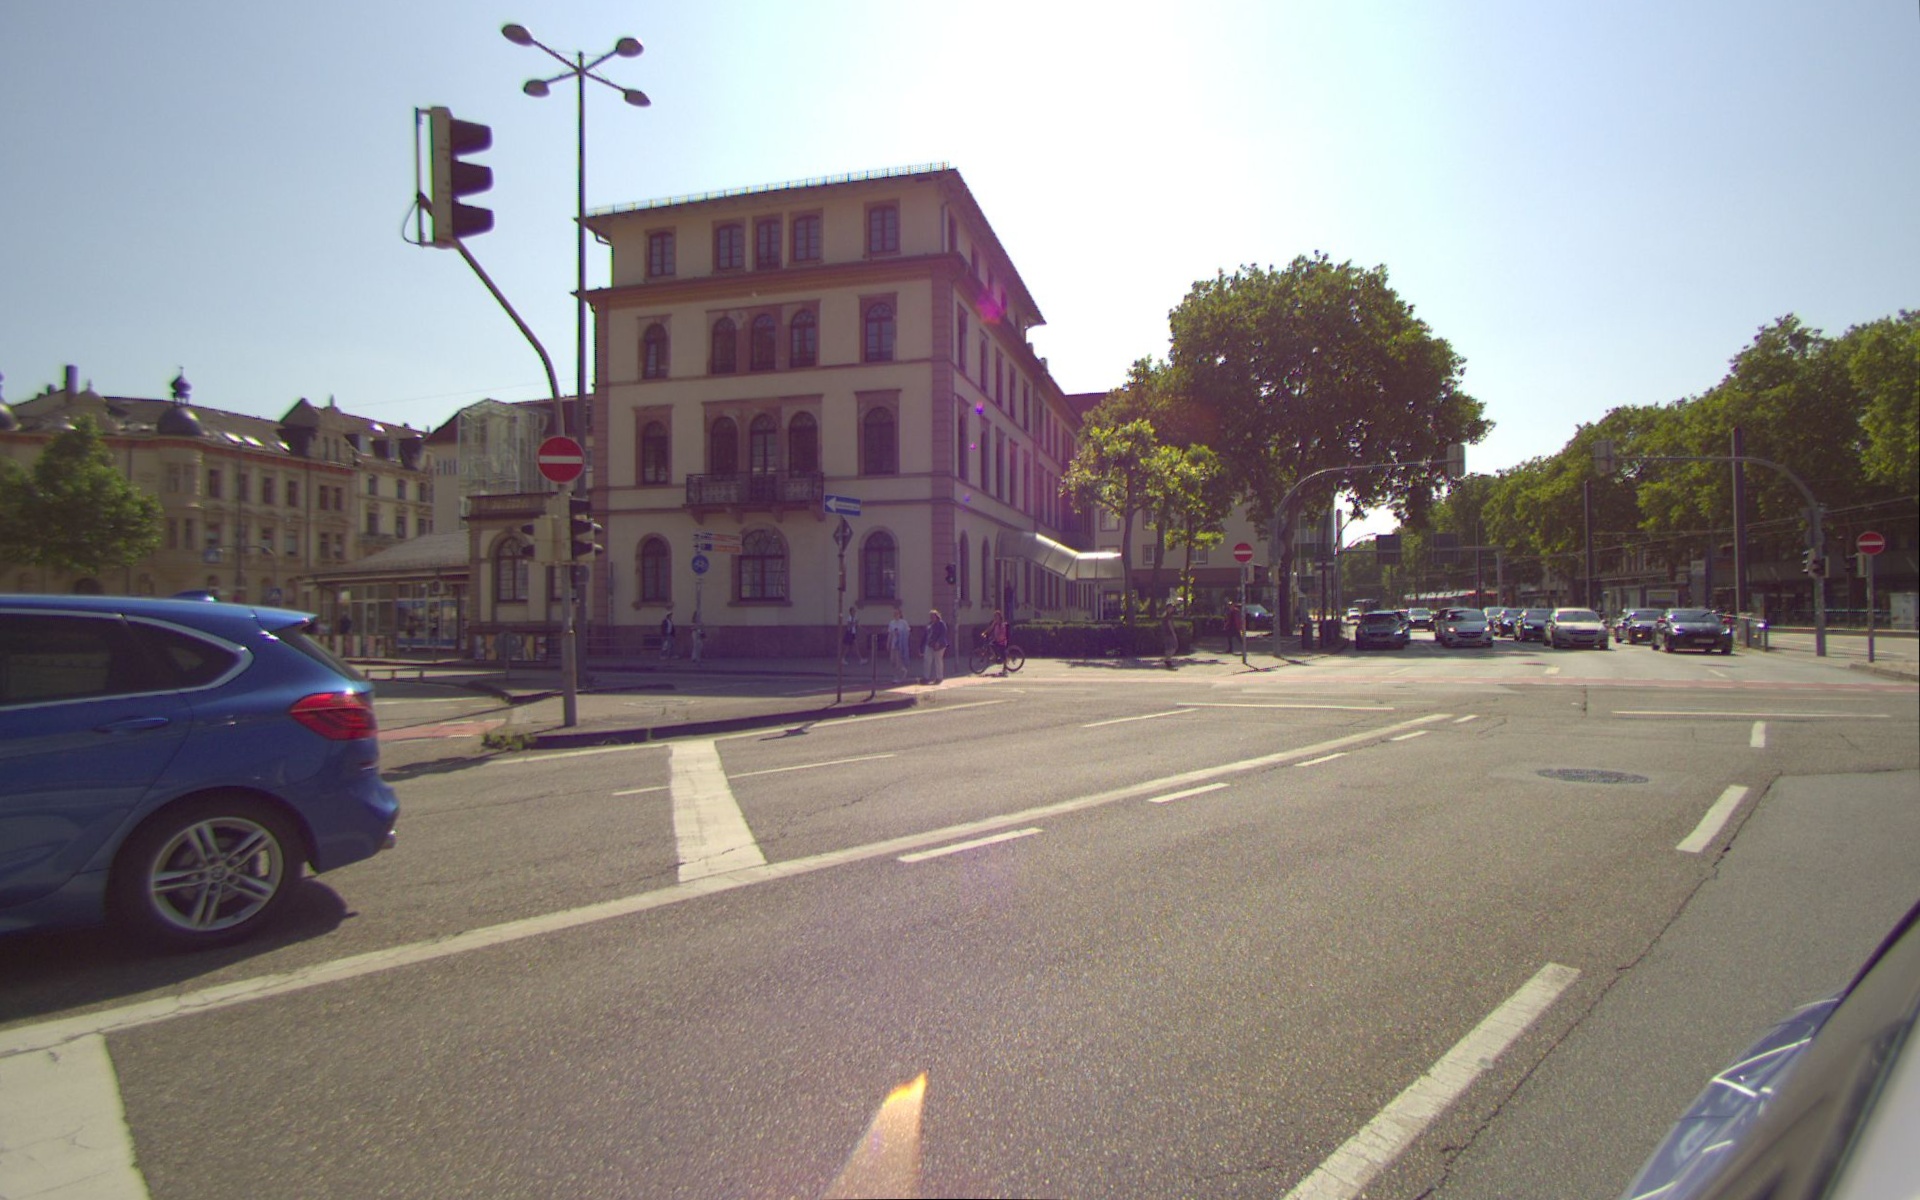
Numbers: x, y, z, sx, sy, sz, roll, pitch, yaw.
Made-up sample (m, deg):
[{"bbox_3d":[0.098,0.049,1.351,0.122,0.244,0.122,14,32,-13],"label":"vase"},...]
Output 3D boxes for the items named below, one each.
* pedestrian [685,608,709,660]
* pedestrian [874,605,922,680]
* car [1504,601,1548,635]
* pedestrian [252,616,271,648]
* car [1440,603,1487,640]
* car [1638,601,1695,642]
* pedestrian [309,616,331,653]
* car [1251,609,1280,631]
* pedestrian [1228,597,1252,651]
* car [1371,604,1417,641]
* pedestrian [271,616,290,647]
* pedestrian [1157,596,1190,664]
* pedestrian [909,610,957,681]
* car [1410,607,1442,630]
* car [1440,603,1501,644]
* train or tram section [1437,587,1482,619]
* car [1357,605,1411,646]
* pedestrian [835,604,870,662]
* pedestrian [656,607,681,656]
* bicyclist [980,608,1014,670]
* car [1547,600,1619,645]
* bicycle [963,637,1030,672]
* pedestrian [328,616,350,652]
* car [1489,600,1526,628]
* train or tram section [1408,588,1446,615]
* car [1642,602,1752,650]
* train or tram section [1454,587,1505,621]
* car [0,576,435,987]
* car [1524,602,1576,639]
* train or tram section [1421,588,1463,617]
[{"bbox_3d":[-8.576,1.093,32.976,0.528,1.670,0.576,-1,-1,20],"label":"pedestrian"},{"bbox_3d":[-1.423,0.958,23.284,0.748,1.681,0.819,-1,-1,34],"label":"pedestrian"},{"bbox_3d":[27.708,0.846,49.638,1.775,1.543,3.935,1,0,28],"label":"car"},{"bbox_3d":[-36.540,1.663,52.956,0.707,1.624,0.723,1,-2,-43],"label":"pedestrian"},{"bbox_3d":[22.769,0.943,45.860,1.774,1.550,3.939,1,0,25],"label":"car"},{"bbox_3d":[28.280,0.835,40.600,1.780,1.536,3.925,1,0,34],"label":"car"},{"bbox_3d":[-29.017,1.555,45.894,0.707,1.624,0.722,1,-2,-43],"label":"pedestrian"},{"bbox_3d":[19.769,1.272,65.444,1.571,1.339,3.556,-1,-1,20],"label":"car"},{"bbox_3d":[9.649,0.817,34.912,0.717,1.828,0.648,-1,-1,22],"label":"pedestrian"},{"bbox_3d":[19.425,0.955,45.432,1.771,1.545,3.944,1,0,22],"label":"car"},{"bbox_3d":[-36.102,1.668,53.748,0.707,1.624,0.722,1,-2,-44],"label":"pedestrian"},{"bbox_3d":[5.923,0.824,28.138,0.714,1.869,0.592,0,-1,-7],"label":"pedestrian"},{"bbox_3d":[-0.611,1.021,23.137,0.768,1.592,0.819,-1,-1,35],"label":"pedestrian"},{"bbox_3d":[31.606,1.251,68.598,1.775,1.470,3.936,1,0,27],"label":"car"},{"bbox_3d":[19.909,0.865,39.581,1.771,1.470,3.944,1,0,22],"label":"car"},{"bbox_3d":[55.833,0.361,113.350,2.694,3.309,8.698,-1,-1,14],"label":"train or tram section"},{"bbox_3d":[16.622,0.971,39.823,1.770,1.470,3.947,1,0,20],"label":"car"},{"bbox_3d":[-3.223,0.987,30.400,0.831,1.717,0.742,-1,-1,14],"label":"pedestrian"},{"bbox_3d":[-10.063,1.090,34.953,0.528,1.670,0.670,-1,-1,18],"label":"pedestrian"},{"bbox_3d":[0.986,1.029,26.952,0.670,1.627,0.594,0,-1,-26],"label":"bicyclist"},{"bbox_3d":[22.689,0.814,36.992,1.702,1.519,4.451,0,-1,25],"label":"car"},{"bbox_3d":[0.973,1.439,26.936,1.709,0.866,0.594,0,-1,-26],"label":"bicycle"},{"bbox_3d":[-28.490,1.564,46.415,0.707,1.624,0.722,1,-2,-43],"label":"pedestrian"},{"bbox_3d":[30.854,0.756,57.132,1.775,1.543,3.935,1,0,28],"label":"car"},{"bbox_3d":[60.014,0.243,130.256,2.694,3.309,8.698,-1,-1,14],"label":"train or tram section"},{"bbox_3d":[24.456,0.813,33.758,1.769,1.470,4.254,1,0,19],"label":"car"},{"bbox_3d":[53.774,0.419,104.929,2.694,3.309,8.698,-1,-1,14],"label":"train or tram section"},{"bbox_3d":[-4.655,0.717,4.107,4.199,1.561,1.720,0,-2,-43],"label":"car"},{"bbox_3d":[25.700,0.851,44.193,1.775,1.543,3.935,1,0,28],"label":"car"},{"bbox_3d":[57.910,0.302,121.807,2.694,3.309,8.698,-1,-1,14],"label":"train or tram section"}]
